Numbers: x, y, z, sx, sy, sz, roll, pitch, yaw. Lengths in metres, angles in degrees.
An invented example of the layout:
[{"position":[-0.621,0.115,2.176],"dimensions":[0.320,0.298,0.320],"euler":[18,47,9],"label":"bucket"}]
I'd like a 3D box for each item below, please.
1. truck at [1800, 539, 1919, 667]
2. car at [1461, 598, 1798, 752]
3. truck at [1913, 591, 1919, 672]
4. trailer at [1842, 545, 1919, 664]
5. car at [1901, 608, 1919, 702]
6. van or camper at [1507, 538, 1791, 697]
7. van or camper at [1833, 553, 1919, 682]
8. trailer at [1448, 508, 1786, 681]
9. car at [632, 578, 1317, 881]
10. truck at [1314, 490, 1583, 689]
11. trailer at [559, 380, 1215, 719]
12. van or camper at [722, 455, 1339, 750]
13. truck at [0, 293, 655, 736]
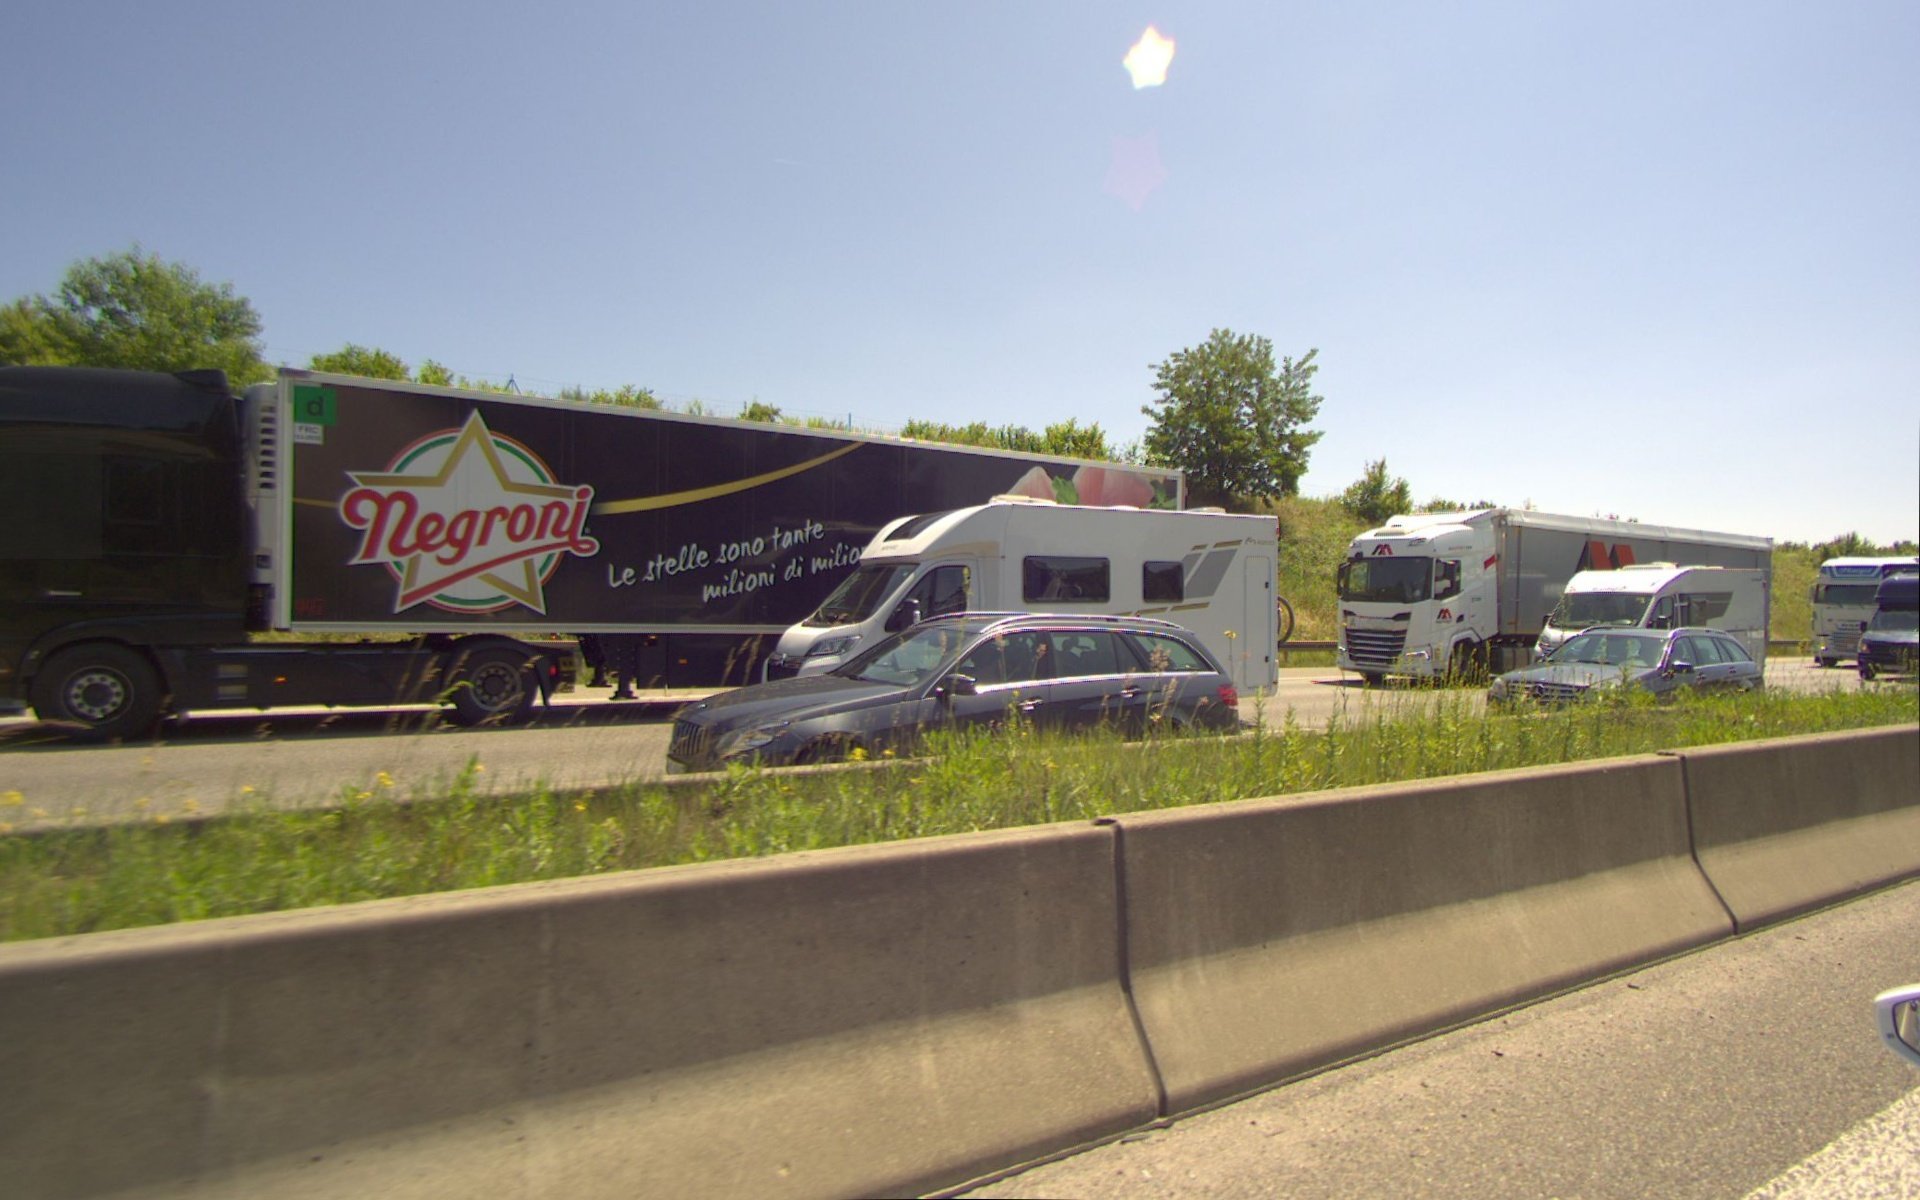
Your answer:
[{"position":[34.358,0.165,37.344],"dimensions":[7.210,4.383,2.576],"euler":[2,0,-31],"label":"truck"},{"position":[9.105,0.919,13.544],"dimensions":[4.914,1.753,1.803],"euler":[2,0,-30],"label":"car"},{"position":[33.295,1.054,32.229],"dimensions":[6.783,2.539,2.223],"euler":[2,-1,-31],"label":"truck"},{"position":[39.728,0.302,40.586],"dimensions":[11.862,4.367,2.599],"euler":[2,0,-31],"label":"trailer"},{"position":[20.386,1.095,19.482],"dimensions":[4.877,1.753,1.803],"euler":[2,0,-30],"label":"car"},{"position":[14.852,0.399,21.478],"dimensions":[7.139,2.962,2.140],"euler":[2,0,-30],"label":"van or camper"},{"position":[28.429,0.567,29.268],"dimensions":[7.591,3.435,2.301],"euler":[2,-1,-31],"label":"van or camper"},{"position":[18.616,0.000,27.976],"dimensions":[12.108,4.087,2.767],"euler":[2,0,-31],"label":"trailer"},{"position":[0.320,0.846,8.253],"dimensions":[5.478,1.833,1.803],"euler":[2,0,-30],"label":"car"},{"position":[11.633,-0.157,23.844],"dimensions":[6.069,4.182,2.787],"euler":[2,0,-30],"label":"truck"},{"position":[-0.726,-0.519,16.641],"dimensions":[10.666,4.297,2.776],"euler":[2,0,-30],"label":"trailer"},{"position":[1.183,0.115,13.432],"dimensions":[8.018,2.987,2.828],"euler":[2,0,-30],"label":"van or camper"},{"position":[-7.680,-0.754,12.533],"dimensions":[6.947,4.362,2.768],"euler":[2,-1,-30],"label":"truck"}]
